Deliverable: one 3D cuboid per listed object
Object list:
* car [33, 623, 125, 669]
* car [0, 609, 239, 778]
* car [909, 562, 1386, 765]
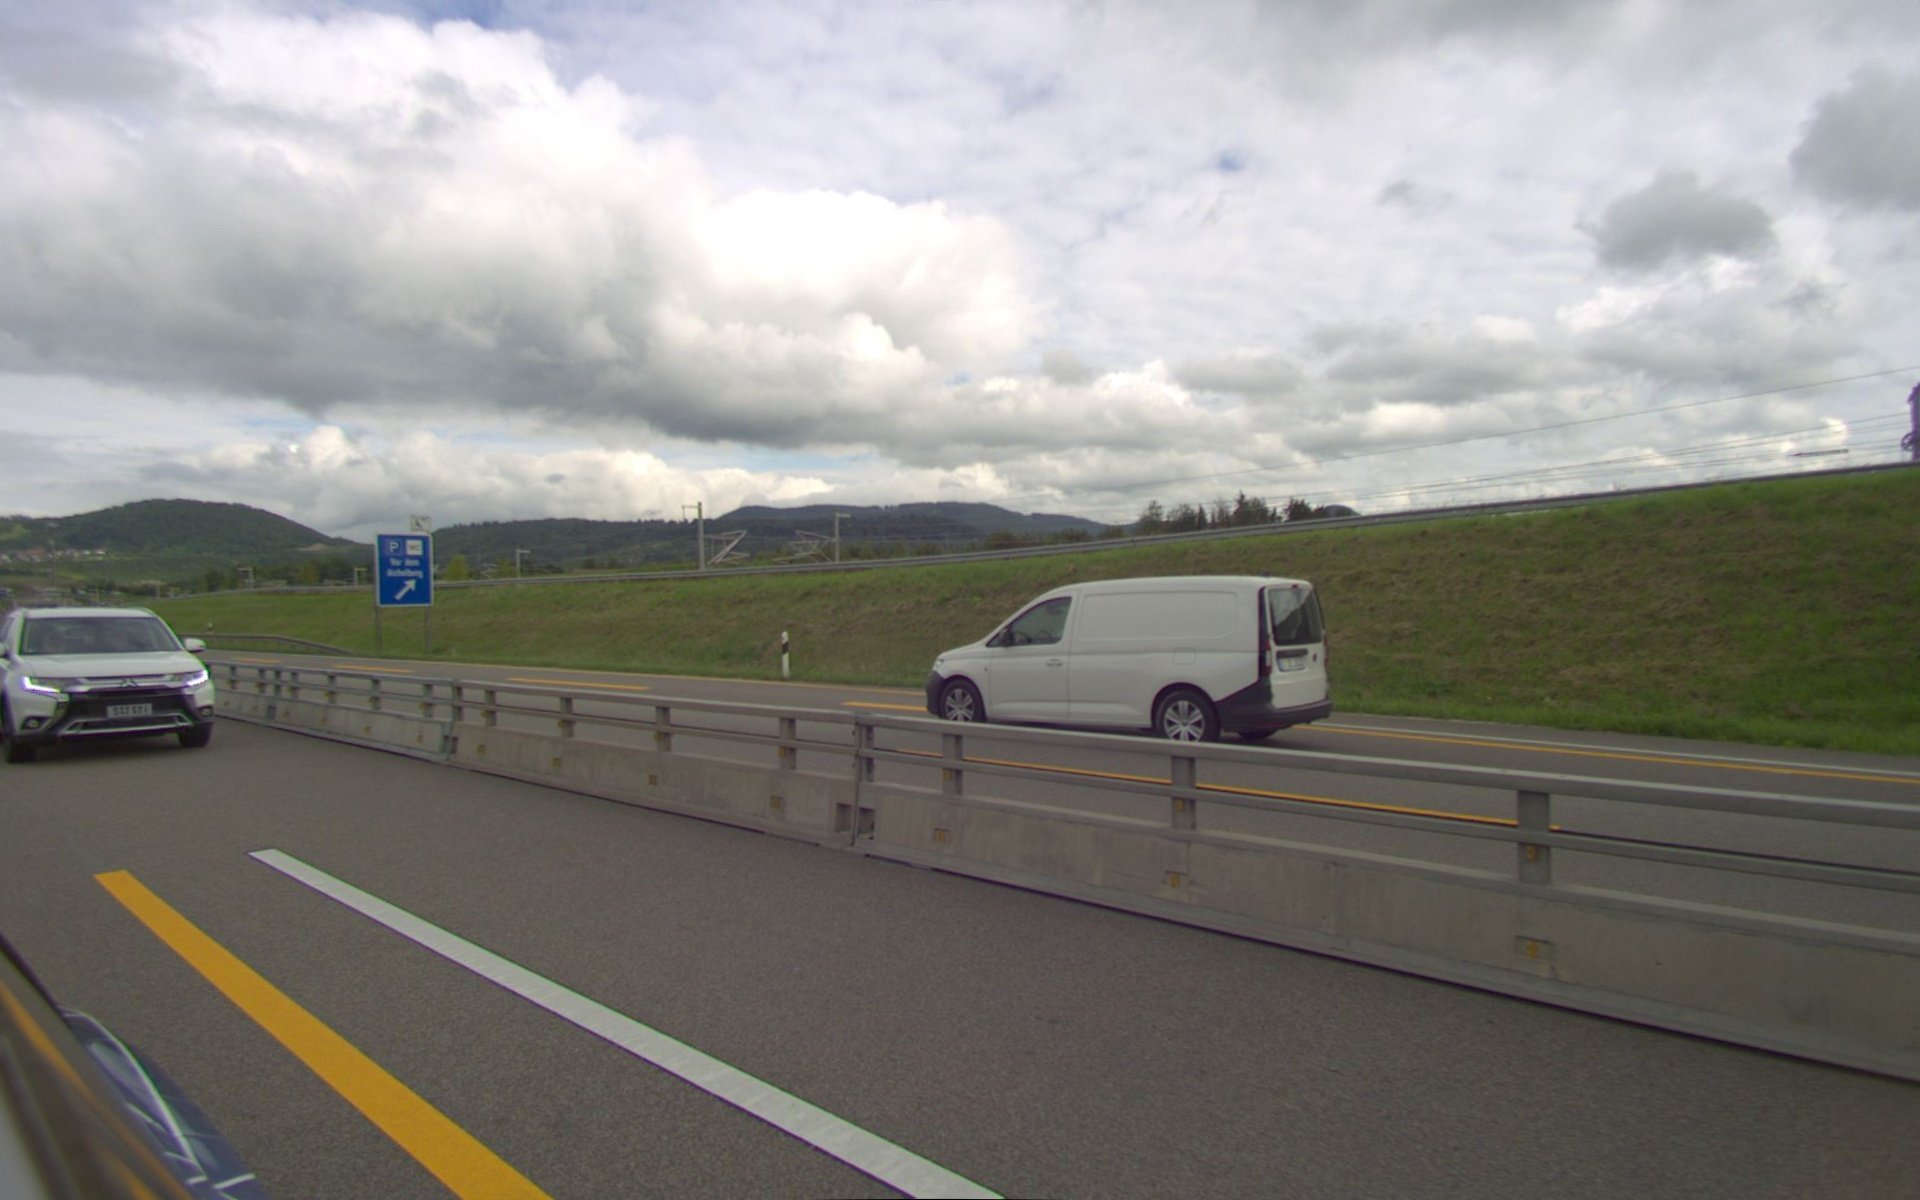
[{"bbox_3d":[-29.184,1.486,33.483,4.325,1.398,1.739,-2,0,42],"label":"car"},{"bbox_3d":[-10.405,0.959,12.104,4.606,1.640,1.972,-2,-1,42],"label":"car"},{"bbox_3d":[1.906,0.612,11.368,4.930,1.805,1.973,-2,-1,40],"label":"car"}]
